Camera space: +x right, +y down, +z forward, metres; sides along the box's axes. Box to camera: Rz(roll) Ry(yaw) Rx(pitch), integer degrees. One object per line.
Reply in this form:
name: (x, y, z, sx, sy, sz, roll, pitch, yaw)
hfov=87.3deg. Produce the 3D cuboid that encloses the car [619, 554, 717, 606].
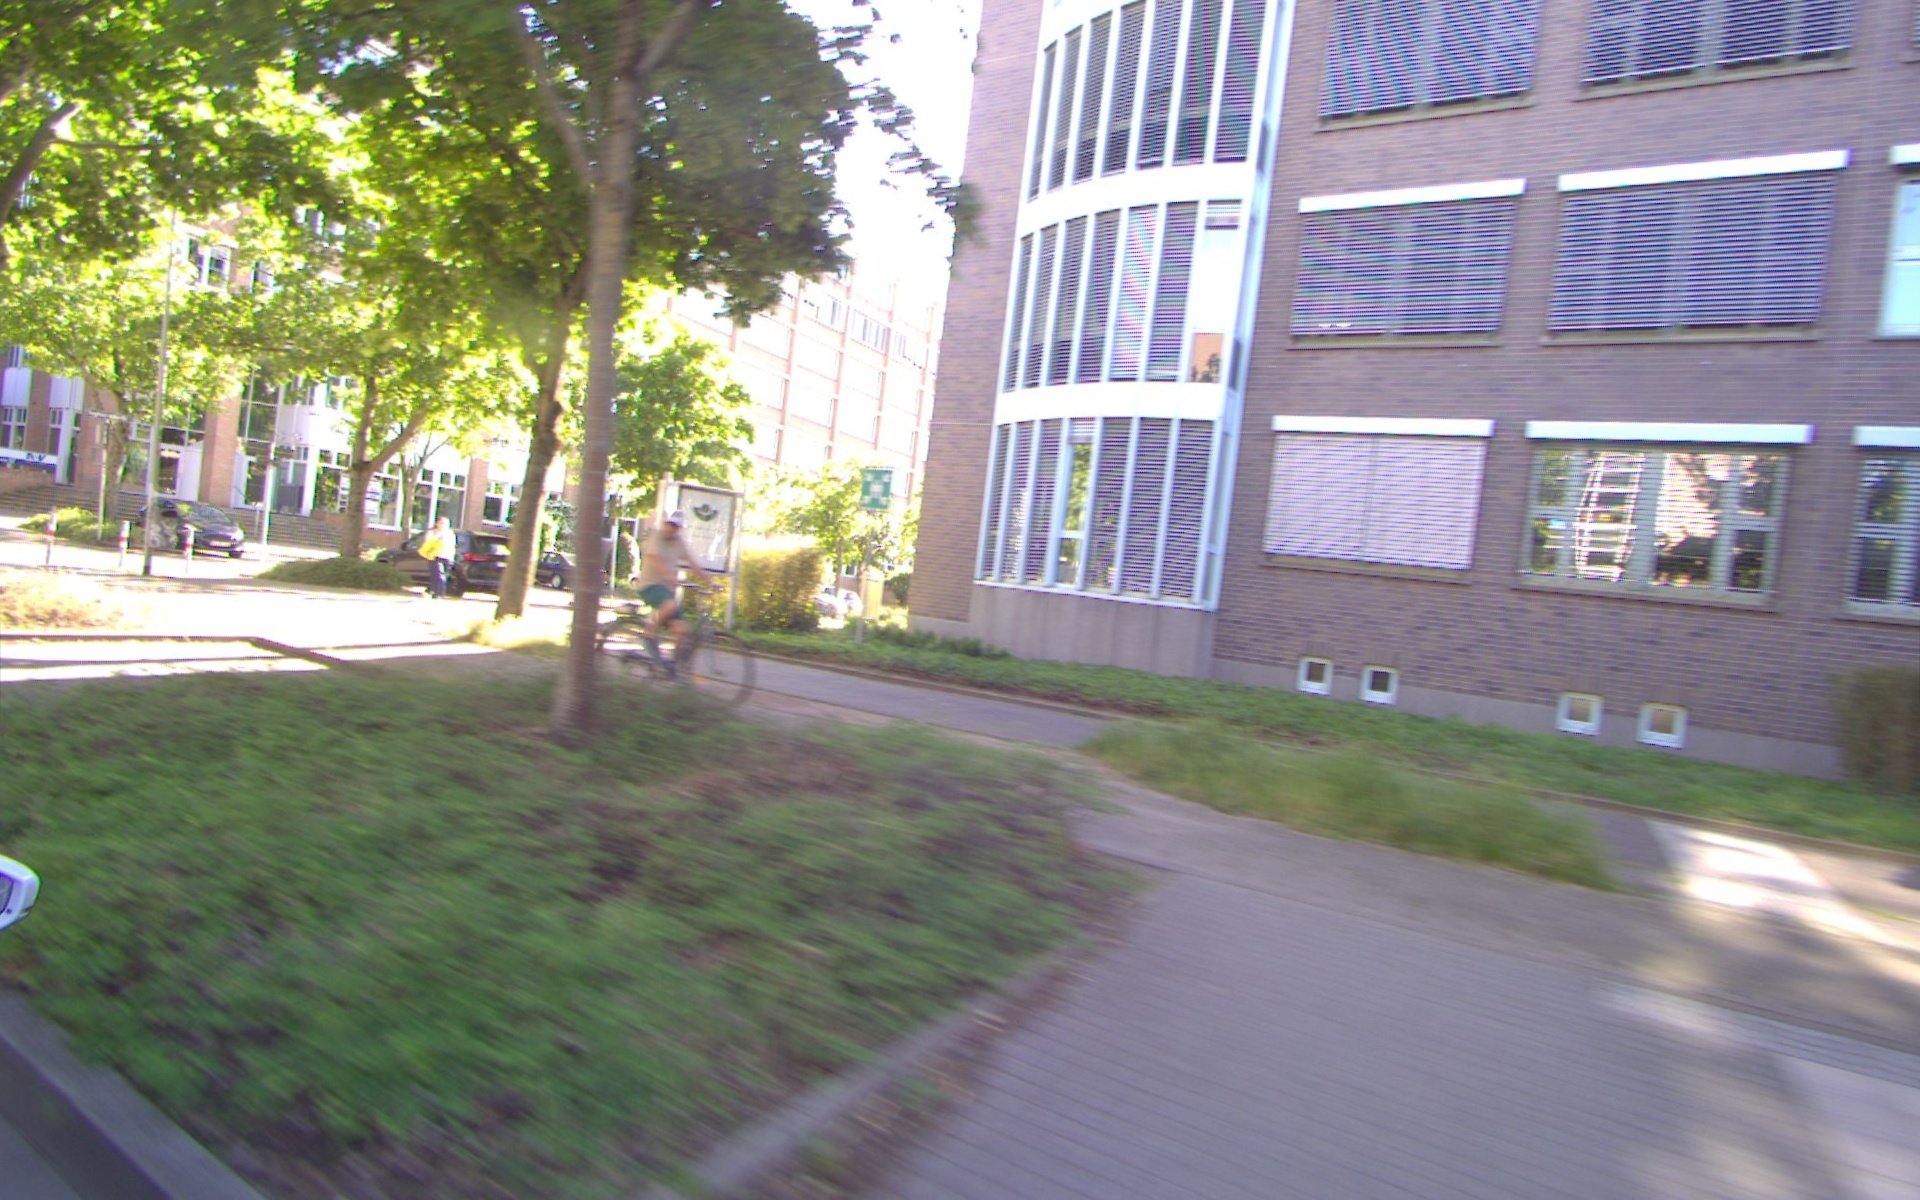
car: (-13.390, -0.913, 46.098, 4.044, 1.745, 1.920, 9, 2, 32)

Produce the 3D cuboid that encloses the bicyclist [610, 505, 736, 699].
bicyclist: (-2.637, 0.019, 9.250, 0.809, 1.657, 0.537, 8, 2, 31)

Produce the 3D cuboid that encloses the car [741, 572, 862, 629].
car: (-5.419, -0.007, 34.285, 3.940, 1.604, 1.699, 4, -2, 36)

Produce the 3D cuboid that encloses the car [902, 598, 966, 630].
car: (-1.708, 0.907, 66.437, 3.843, 1.448, 1.533, 10, 2, 30)

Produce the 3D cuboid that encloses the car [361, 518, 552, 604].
car: (-11.863, -0.931, 23.651, 4.291, 1.584, 1.742, 5, -1, 28)

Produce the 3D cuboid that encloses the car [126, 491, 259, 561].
car: (-22.356, -2.157, 29.265, 3.851, 1.481, 1.654, 8, 1, 30)

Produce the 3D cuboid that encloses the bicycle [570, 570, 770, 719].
bicycle: (-2.693, 0.385, 9.257, 1.887, 1.092, 0.534, 8, 1, 31)

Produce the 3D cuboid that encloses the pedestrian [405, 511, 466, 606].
pedestrian: (-9.441, -0.739, 18.116, 0.636, 1.602, 0.539, 8, 1, 21)
